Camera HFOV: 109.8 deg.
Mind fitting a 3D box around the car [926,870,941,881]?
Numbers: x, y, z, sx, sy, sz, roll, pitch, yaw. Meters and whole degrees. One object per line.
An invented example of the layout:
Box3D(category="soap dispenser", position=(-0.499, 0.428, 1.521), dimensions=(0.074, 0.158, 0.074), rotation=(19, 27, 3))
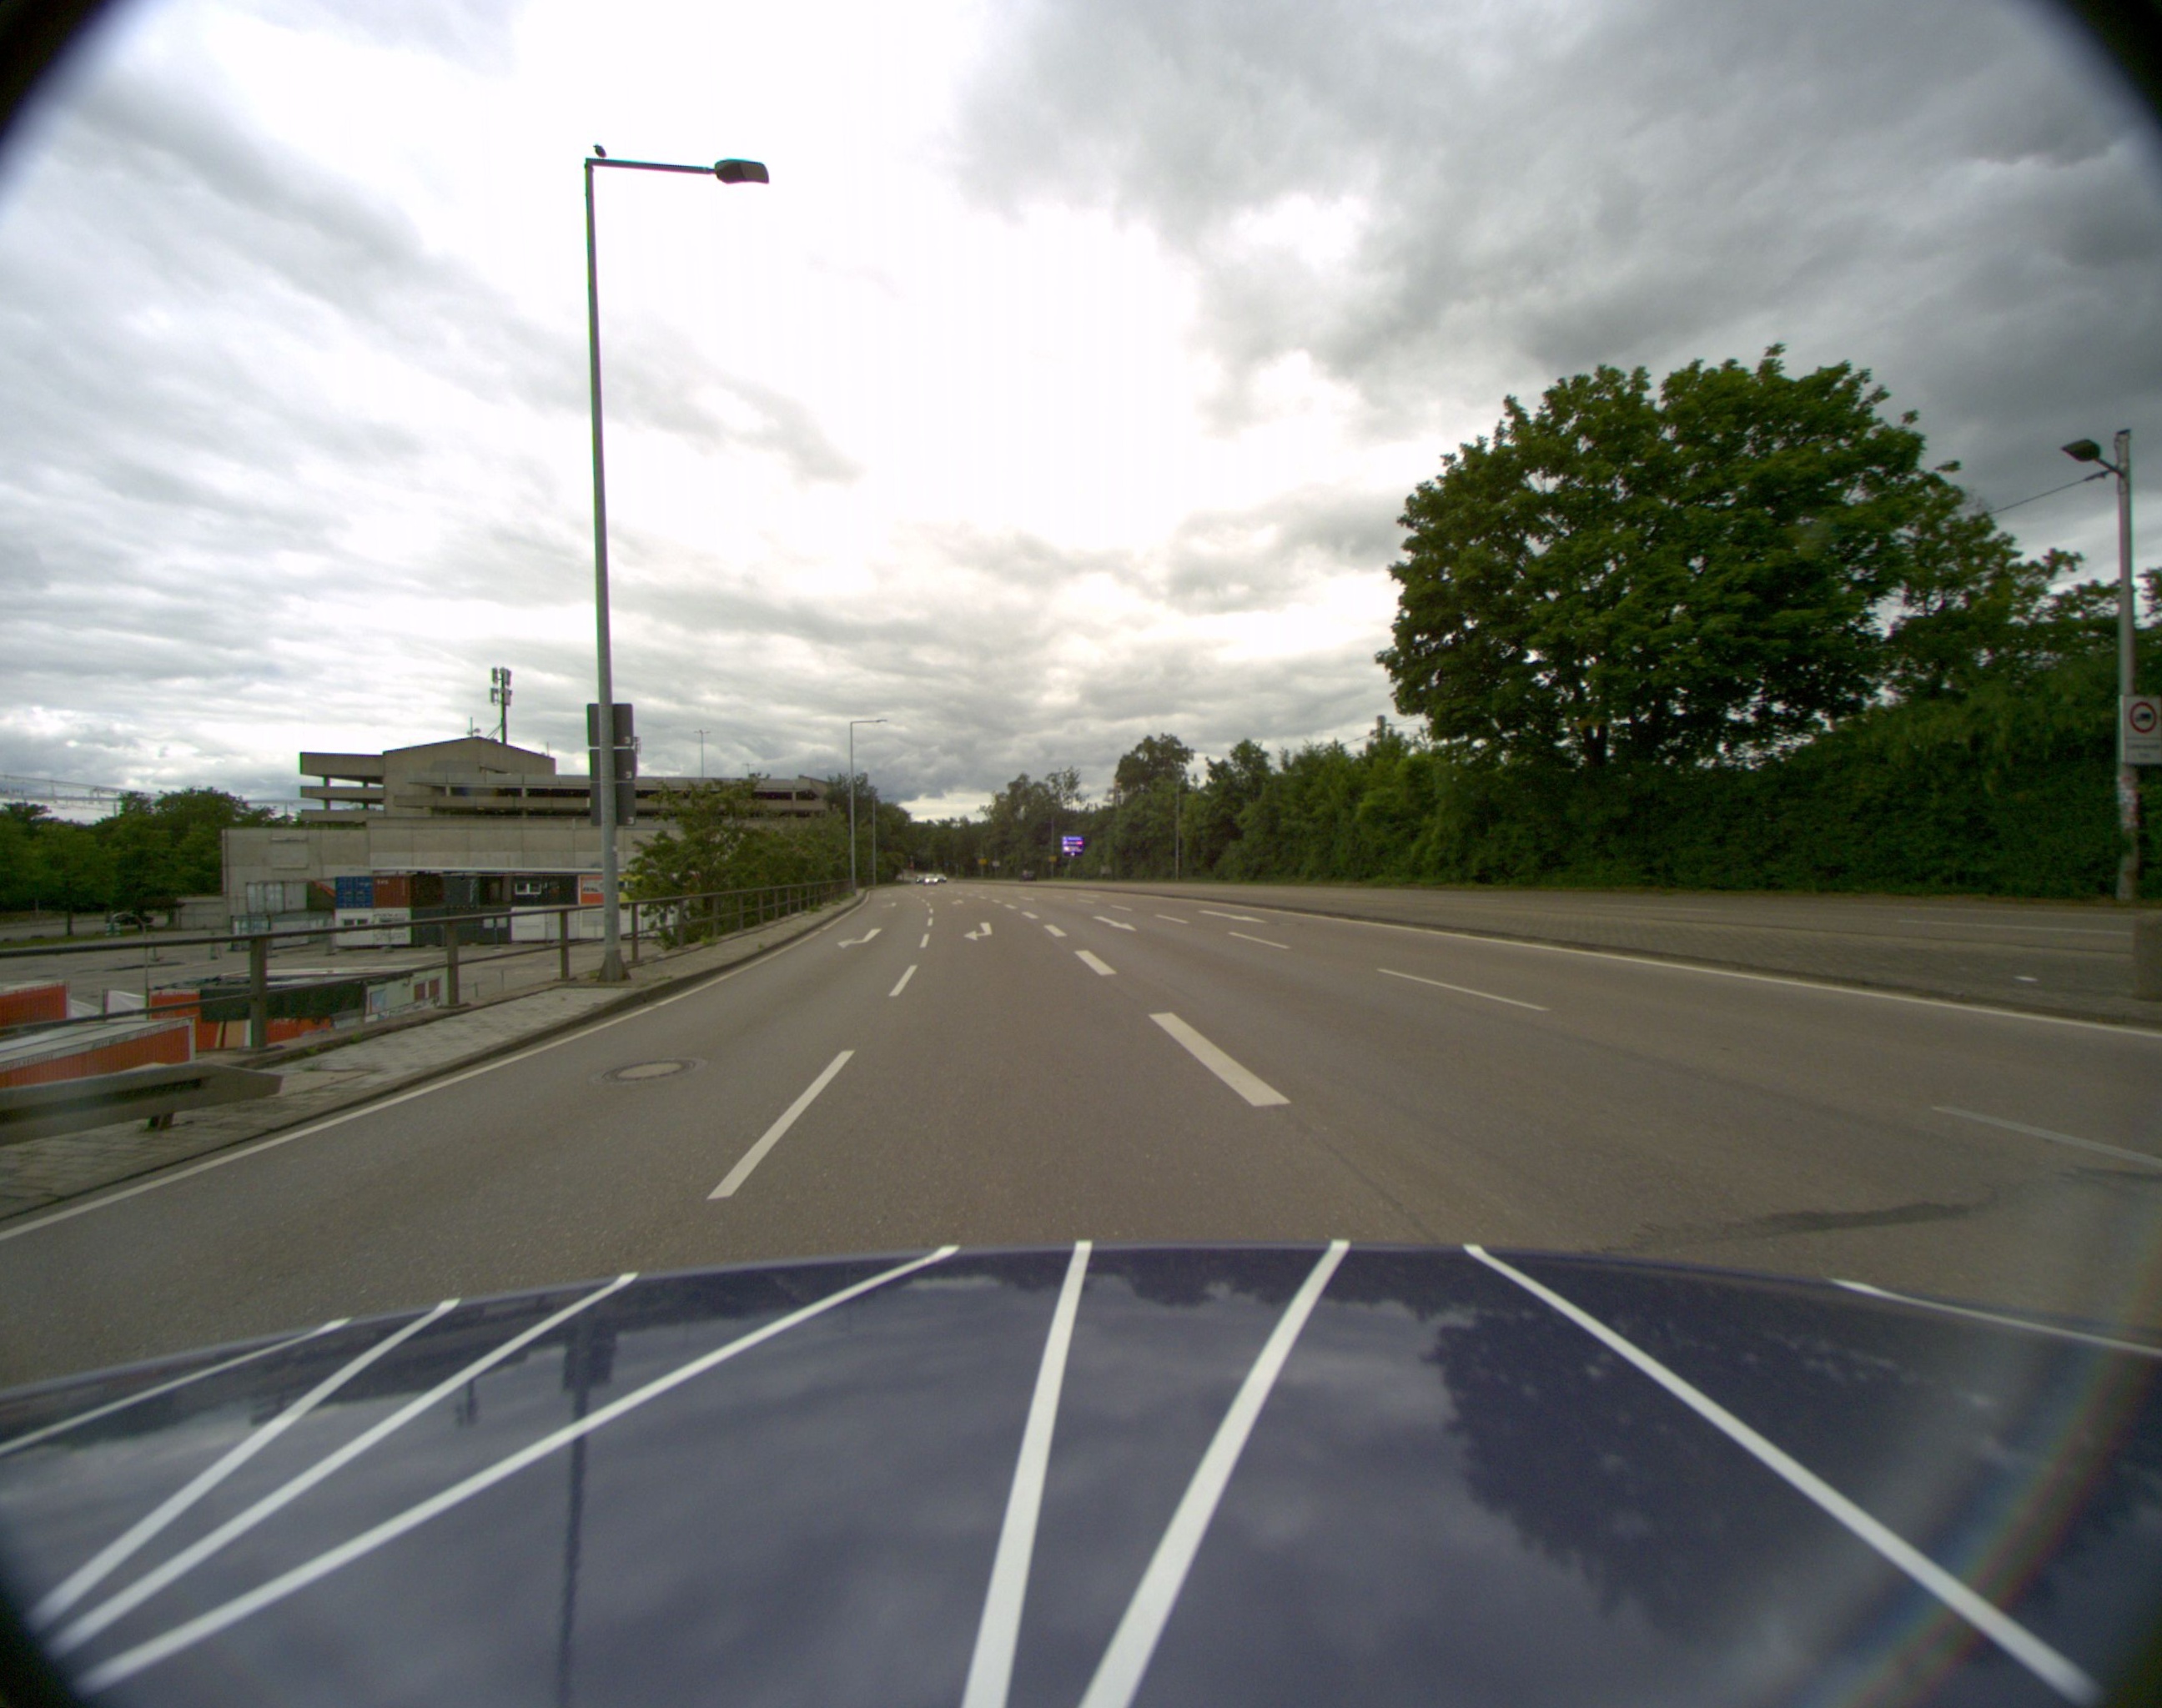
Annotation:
Box3D(category="car", position=(-19.704, 2.865, 101.430), dimensions=(1.611, 1.408, 3.587), rotation=(-2, 0, -16))

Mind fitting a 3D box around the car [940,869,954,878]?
Box3D(category="car", position=(-22.424, 3.331, 127.109), dimensions=(1.845, 1.408, 4.574), rotation=(-2, -1, -16))

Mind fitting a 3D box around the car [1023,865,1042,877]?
Box3D(category="car", position=(-6.255, 2.174, 96.867), dimensions=(1.705, 1.455, 3.995), rotation=(-3, 0, -14))

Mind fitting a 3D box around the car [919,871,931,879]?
Box3D(category="car", position=(-26.788, 3.595, 130.748), dimensions=(1.866, 1.408, 4.335), rotation=(-2, 0, -11))

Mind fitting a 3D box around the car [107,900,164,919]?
Box3D(category="car", position=(-110.508, 6.443, 88.872), dimensions=(2.001, 1.805, 3.995), rotation=(-5, 1, -15))
